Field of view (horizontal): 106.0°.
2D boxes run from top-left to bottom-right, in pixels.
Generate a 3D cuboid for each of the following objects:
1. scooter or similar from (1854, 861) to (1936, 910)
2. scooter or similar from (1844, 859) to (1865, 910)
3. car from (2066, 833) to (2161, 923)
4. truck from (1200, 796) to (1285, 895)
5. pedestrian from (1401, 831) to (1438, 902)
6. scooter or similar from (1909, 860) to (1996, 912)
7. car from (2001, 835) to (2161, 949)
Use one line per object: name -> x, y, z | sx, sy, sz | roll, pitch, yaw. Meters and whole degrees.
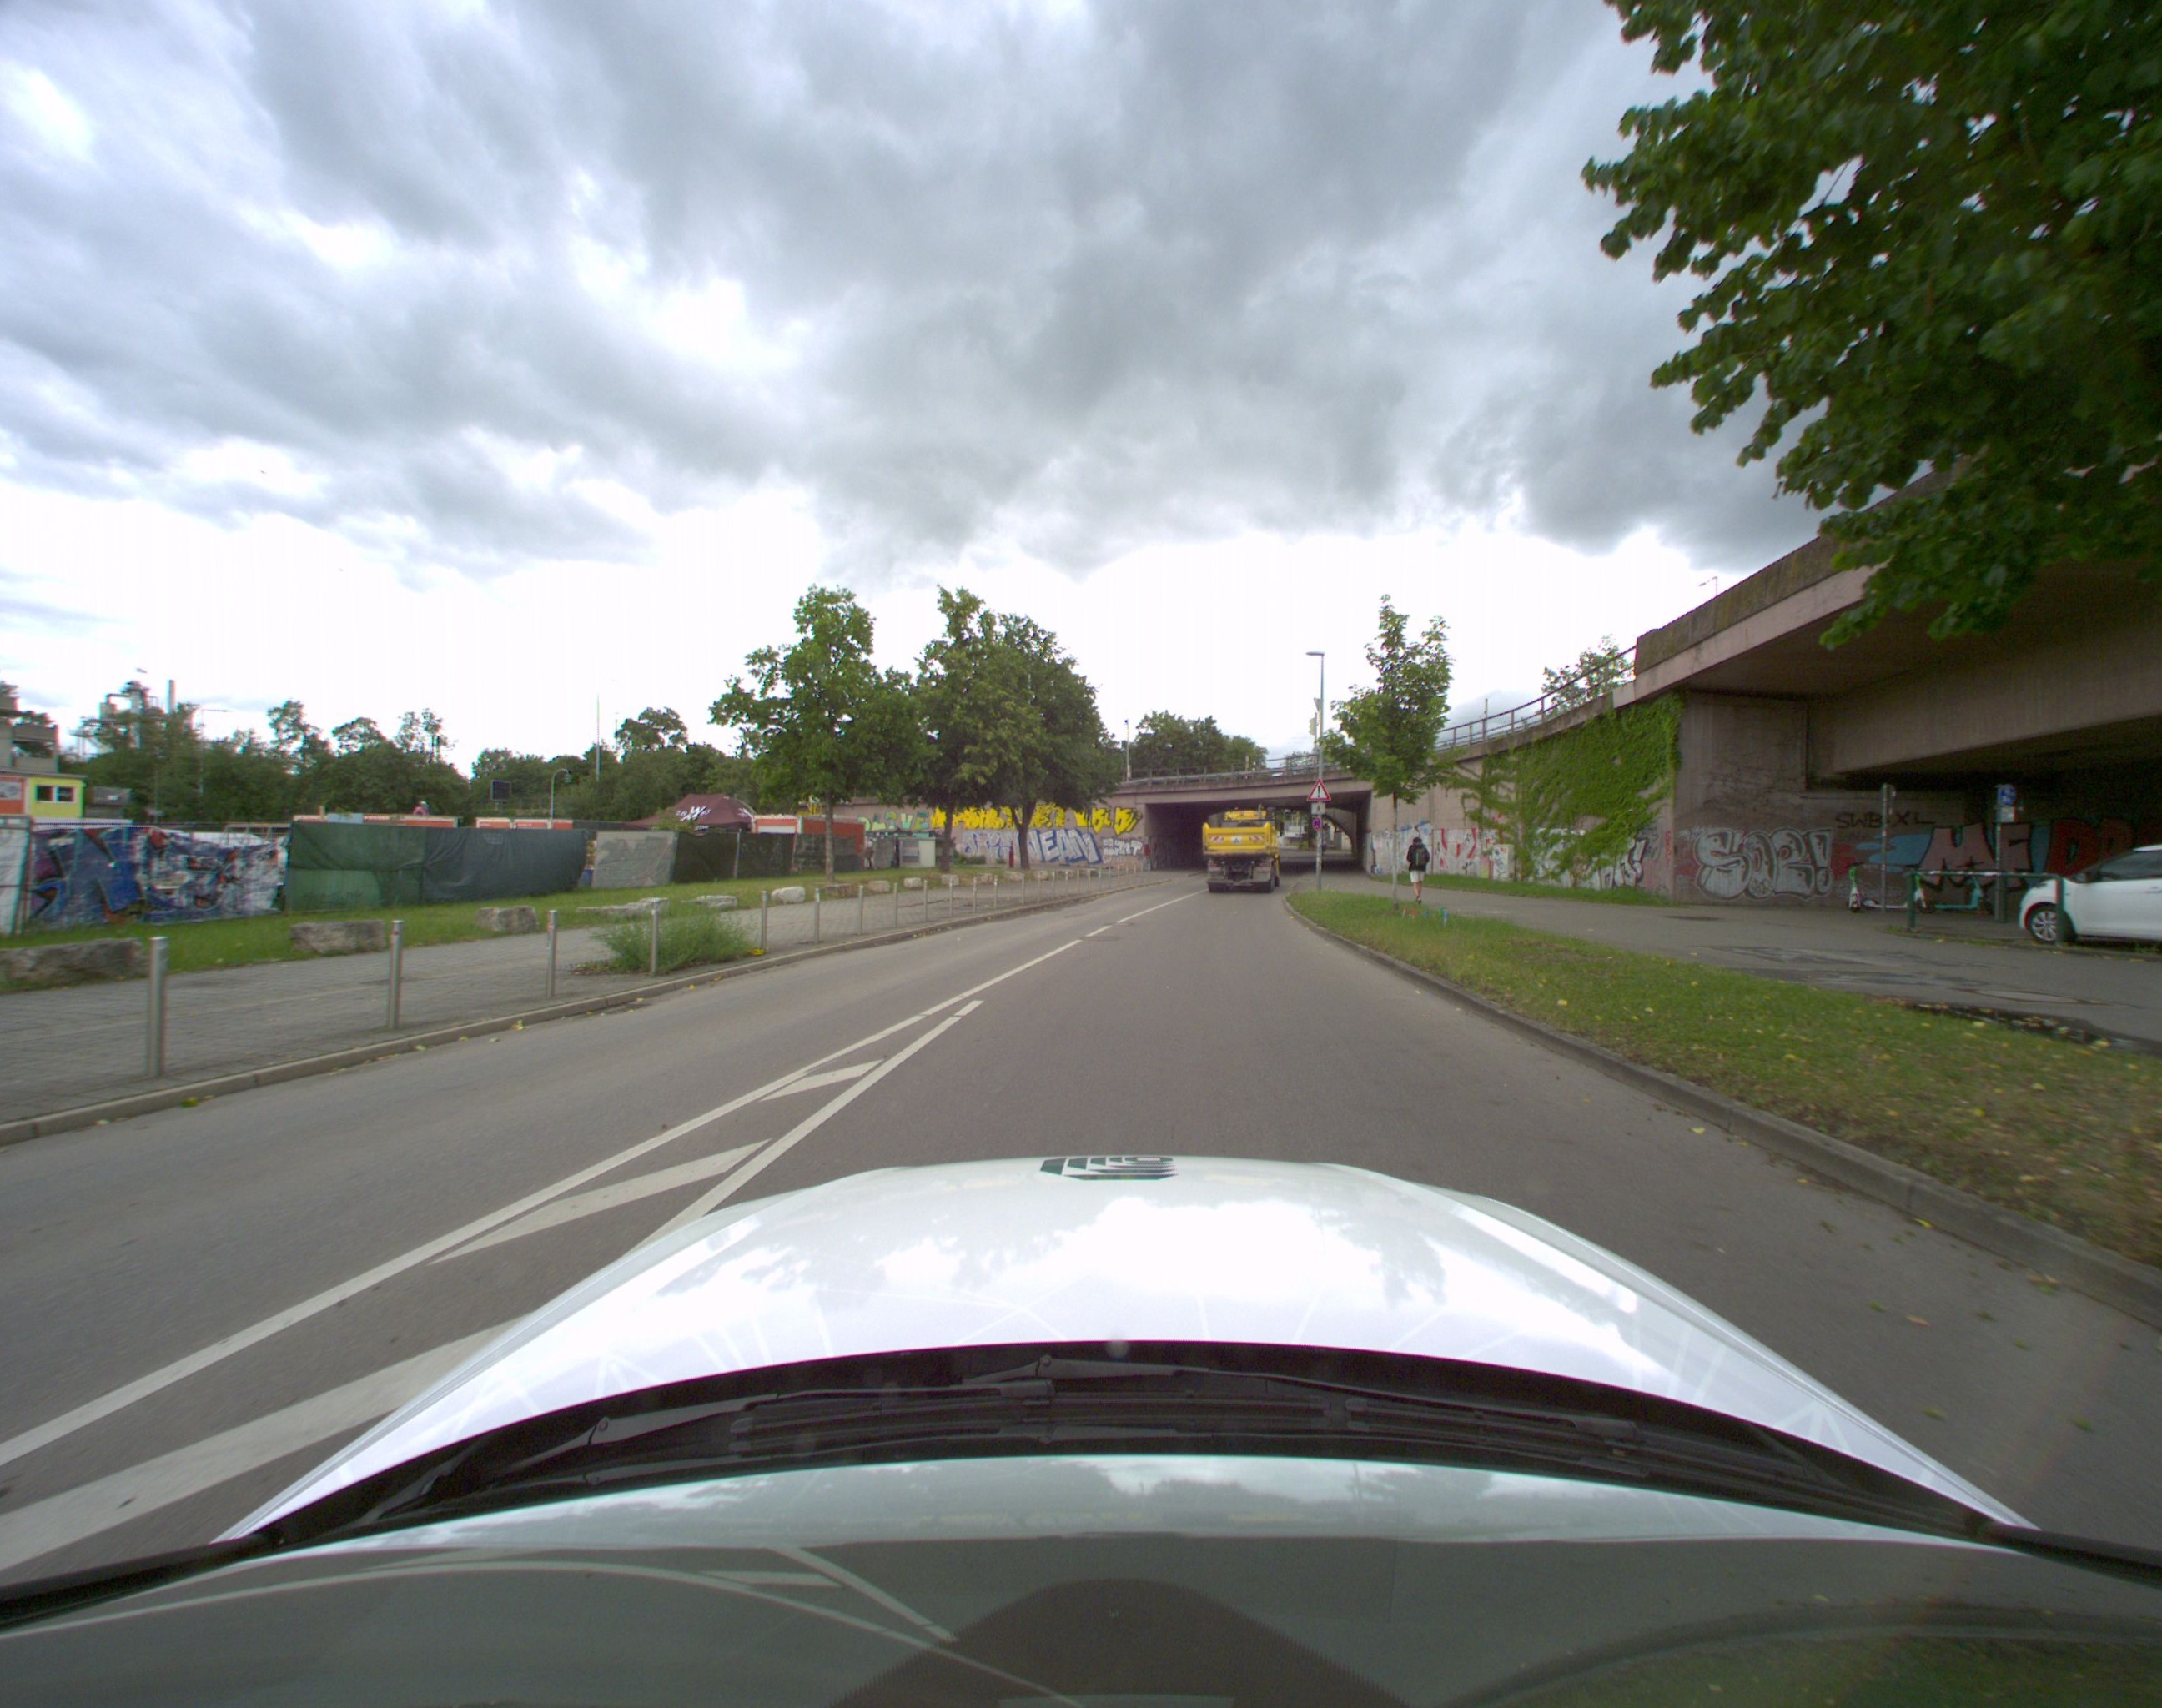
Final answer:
scooter or similar -> 19.559, 0.733, 19.599 | 0.270, 1.129, 1.429 | 0, 0, -19
scooter or similar -> 18.012, 0.686, 18.955 | 1.689, 1.129, 0.266 | 0, 0, -43
car -> 18.765, 0.414, 13.062 | 1.731, 1.498, 4.015 | 1, 1, 14
truck -> 7.035, -0.320, 34.554 | 2.737, 3.698, 7.914 | 1, 0, 17
pedestrian -> 9.237, 0.329, 22.228 | 0.731, 1.907, 0.827 | 0, 0, 7
scooter or similar -> 20.714, 0.742, 19.396 | 0.270, 1.168, 1.429 | 0, 0, -19
car -> 14.406, 0.486, 10.510 | 1.565, 1.440, 3.386 | 1, 1, 9
